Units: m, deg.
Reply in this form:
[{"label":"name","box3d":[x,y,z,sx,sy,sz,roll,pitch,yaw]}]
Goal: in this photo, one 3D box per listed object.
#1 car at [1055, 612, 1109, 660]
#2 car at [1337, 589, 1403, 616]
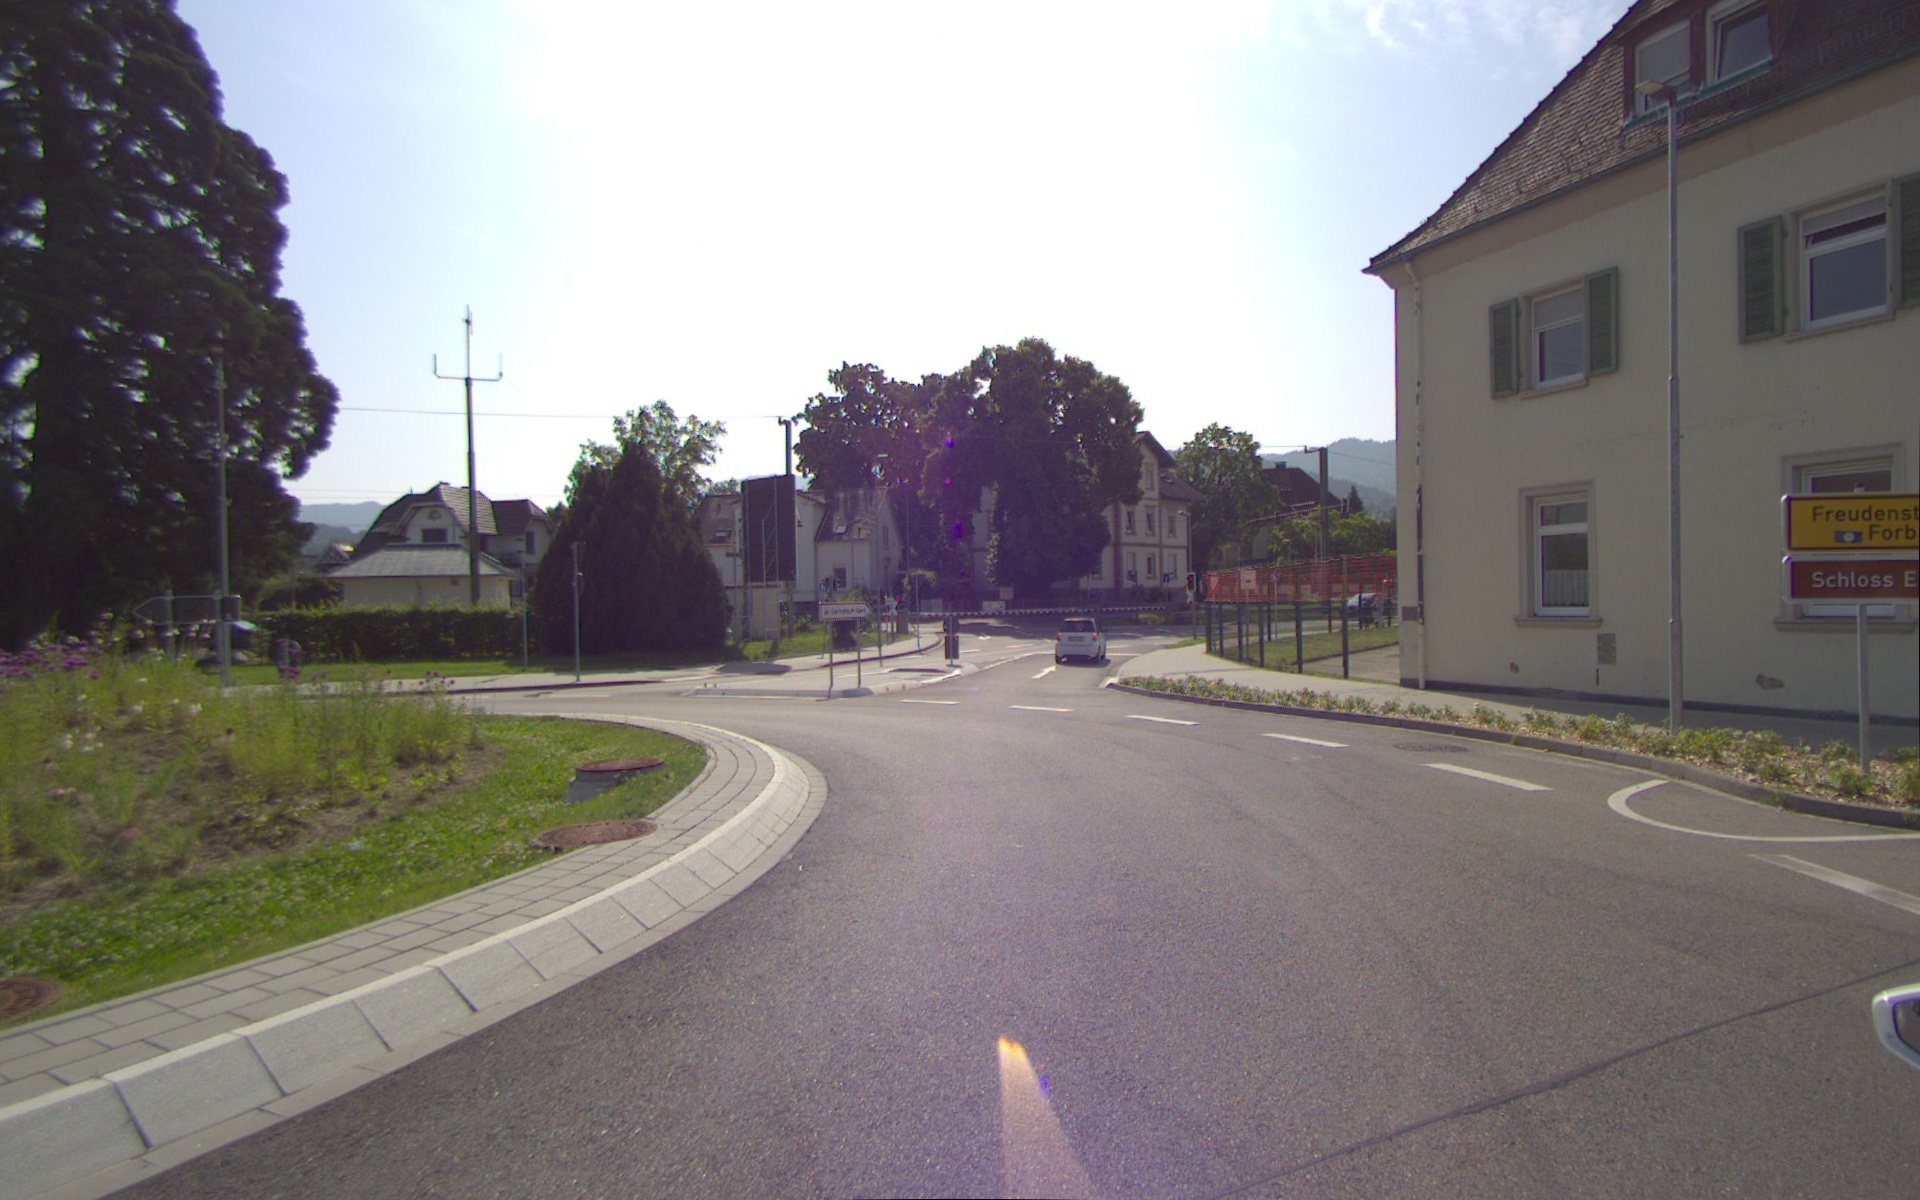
[{"label":"car","box3d":[4.464,1.264,36.420,1.679,1.417,4.001,-1,3,11]},{"label":"car","box3d":[24.396,0.128,59.783,3.956,1.417,1.699,-3,3,-33]}]
